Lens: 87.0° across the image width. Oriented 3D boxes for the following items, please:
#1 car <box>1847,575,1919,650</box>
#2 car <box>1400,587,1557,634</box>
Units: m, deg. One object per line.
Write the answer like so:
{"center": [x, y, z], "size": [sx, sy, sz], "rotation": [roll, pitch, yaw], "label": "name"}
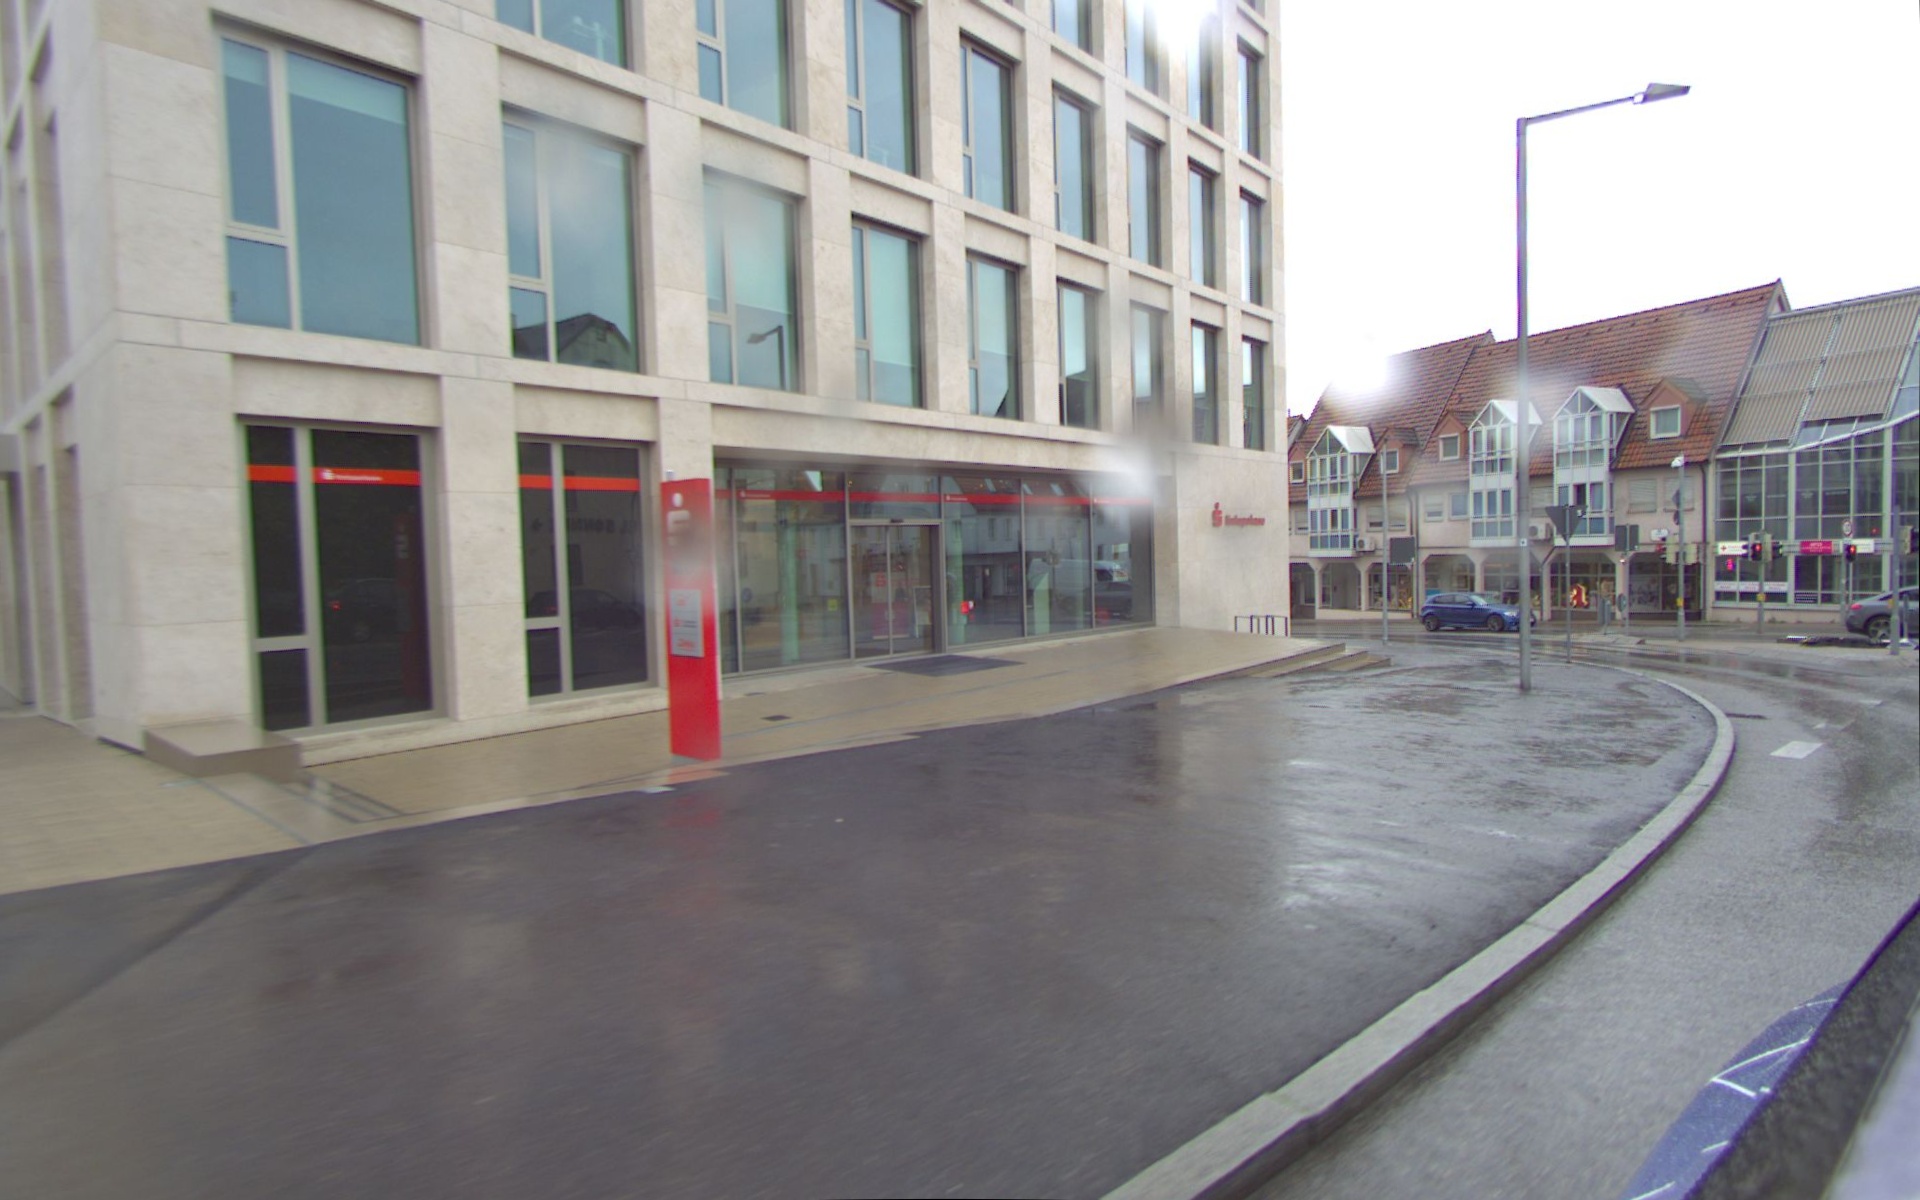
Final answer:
{"center": [25.414, 0.333, 24.898], "size": [1.960, 1.868, 5.040], "rotation": [0, 1, -28], "label": "car"}
{"center": [19.206, 0.325, 37.783], "size": [1.959, 1.565, 5.041], "rotation": [0, 1, -26], "label": "car"}
